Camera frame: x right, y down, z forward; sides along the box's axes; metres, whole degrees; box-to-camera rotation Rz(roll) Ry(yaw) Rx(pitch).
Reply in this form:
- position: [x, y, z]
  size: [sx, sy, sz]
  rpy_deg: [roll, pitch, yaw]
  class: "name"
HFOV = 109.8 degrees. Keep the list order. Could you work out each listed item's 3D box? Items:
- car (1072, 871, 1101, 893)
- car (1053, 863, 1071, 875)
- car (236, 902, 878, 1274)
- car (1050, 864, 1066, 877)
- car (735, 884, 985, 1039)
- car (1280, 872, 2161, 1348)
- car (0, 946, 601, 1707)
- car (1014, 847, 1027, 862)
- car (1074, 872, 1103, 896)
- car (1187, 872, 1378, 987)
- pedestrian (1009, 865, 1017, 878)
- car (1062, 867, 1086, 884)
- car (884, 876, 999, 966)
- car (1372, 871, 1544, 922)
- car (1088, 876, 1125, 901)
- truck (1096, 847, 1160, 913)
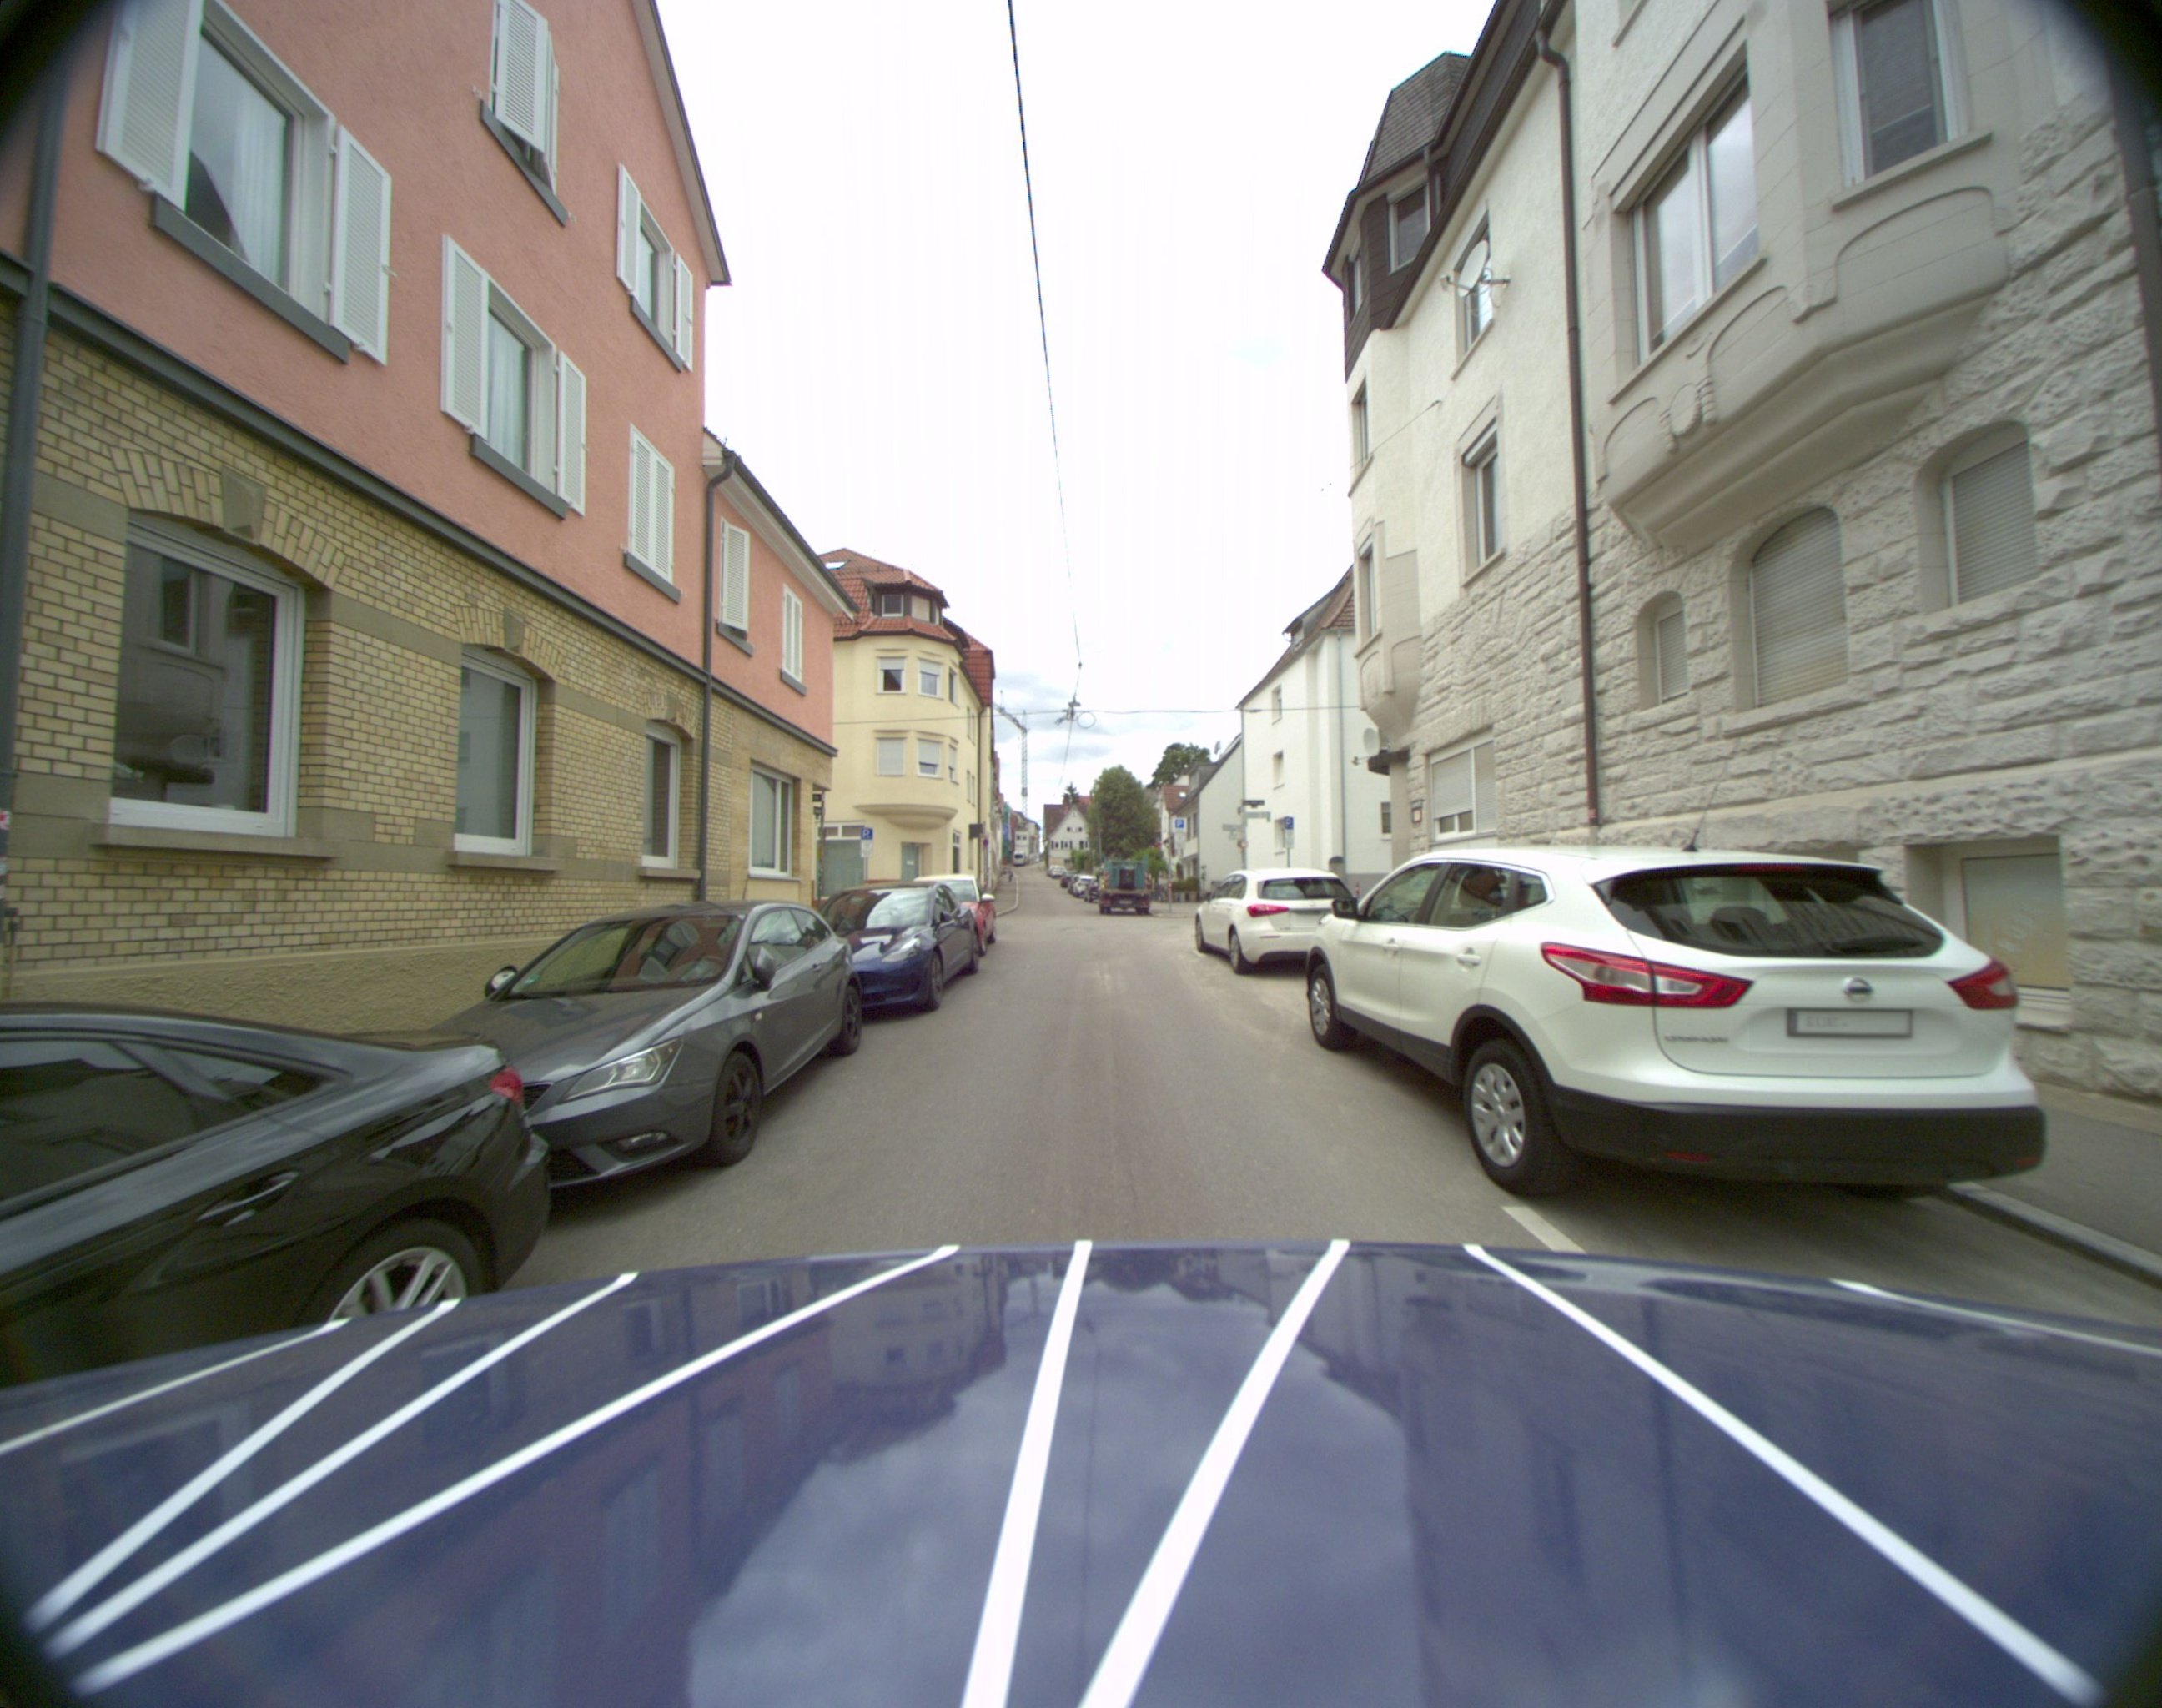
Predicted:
- position: [0.401, 2.223, 61.238]
  size: [1.856, 1.640, 3.944]
  rpy_deg: [1, -1, -6]
  class: "car"
- position: [-2.366, 1.832, 93.126]
  size: [1.856, 1.441, 3.944]
  rpy_deg: [1, -1, -6]
  class: "car"
- position: [-2.840, 1.149, 5.355]
  size: [1.857, 1.395, 3.966]
  rpy_deg: [-2, -1, -2]
  class: "car"
- position: [-3.047, 2.118, 99.204]
  size: [1.856, 1.441, 3.943]
  rpy_deg: [1, 1, -6]
  class: "car"
- position: [-2.487, 1.167, 9.765]
  size: [1.857, 1.395, 4.293]
  rpy_deg: [-2, -1, 1]
  class: "car"
- position: [2.733, 0.878, 4.604]
  size: [1.850, 1.506, 4.241]
  rpy_deg: [0, -1, -1]
  class: "car"
- position: [-2.784, 1.042, 0.636]
  size: [1.857, 1.395, 4.575]
  rpy_deg: [-2, -1, -1]
  class: "car"
- position: [-10.993, 0.054, 137.133]
  size: [2.194, 2.630, 5.823]
  rpy_deg: [1, 0, -6]
  class: "car"
- position: [0.525, 2.206, 56.101]
  size: [1.855, 1.640, 3.946]
  rpy_deg: [1, -2, -4]
  class: "car"
- position: [2.802, 0.989, 11.580]
  size: [1.703, 1.405, 4.241]
  rpy_deg: [0, -1, -1]
  class: "car"
- position: [-7.552, 1.925, 83.981]
  size: [0.757, 1.479, 0.566]
  rpy_deg: [0, -1, -18]
  class: "pedestrian"
- position: [-0.712, 2.086, 74.103]
  size: [1.856, 1.640, 3.944]
  rpy_deg: [1, -1, -6]
  class: "car"
- position: [-2.552, 1.178, 14.681]
  size: [1.672, 1.470, 3.626]
  rpy_deg: [0, -1, -2]
  class: "car"
- position: [11.370, 1.315, 23.164]
  size: [4.293, 1.382, 1.828]
  rpy_deg: [-2, -4, 5]
  class: "car"
- position: [1.516, 2.109, 46.675]
  size: [1.855, 1.454, 3.946]
  rpy_deg: [1, -2, -4]
  class: "car"
- position: [1.910, 1.180, 32.923]
  size: [2.316, 2.535, 6.291]
  rpy_deg: [1, -3, 0]
  class: "truck"
